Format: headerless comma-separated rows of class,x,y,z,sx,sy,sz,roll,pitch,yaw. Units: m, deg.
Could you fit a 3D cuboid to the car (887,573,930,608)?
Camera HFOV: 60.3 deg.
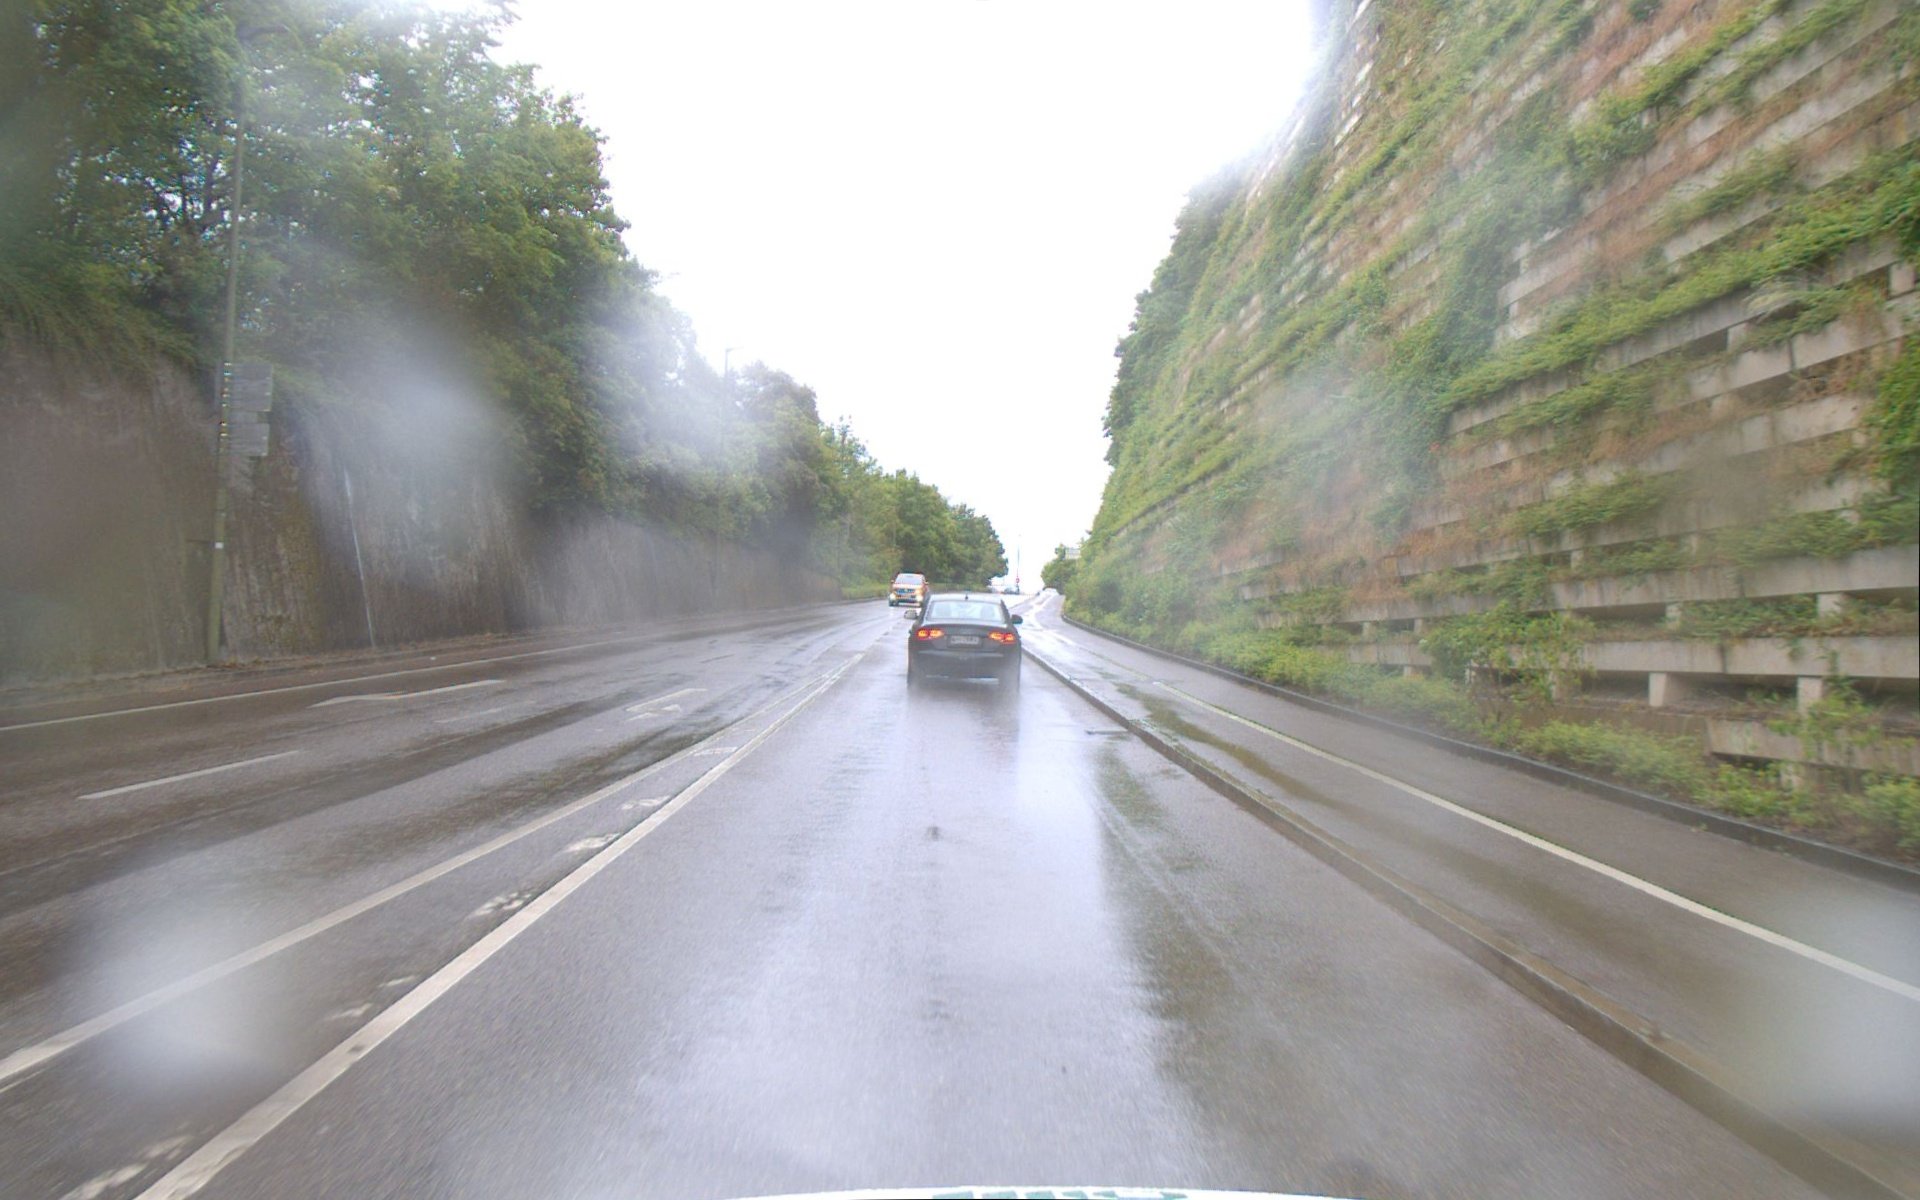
car,-2.506,-0.473,81.514,1.696,1.646,4.002,1,0,4

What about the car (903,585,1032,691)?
car,0.158,0.566,26.380,1.853,1.518,4.208,-1,0,1

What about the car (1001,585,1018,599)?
car,5.432,-0.864,179.688,1.826,1.474,4.378,0,0,2
